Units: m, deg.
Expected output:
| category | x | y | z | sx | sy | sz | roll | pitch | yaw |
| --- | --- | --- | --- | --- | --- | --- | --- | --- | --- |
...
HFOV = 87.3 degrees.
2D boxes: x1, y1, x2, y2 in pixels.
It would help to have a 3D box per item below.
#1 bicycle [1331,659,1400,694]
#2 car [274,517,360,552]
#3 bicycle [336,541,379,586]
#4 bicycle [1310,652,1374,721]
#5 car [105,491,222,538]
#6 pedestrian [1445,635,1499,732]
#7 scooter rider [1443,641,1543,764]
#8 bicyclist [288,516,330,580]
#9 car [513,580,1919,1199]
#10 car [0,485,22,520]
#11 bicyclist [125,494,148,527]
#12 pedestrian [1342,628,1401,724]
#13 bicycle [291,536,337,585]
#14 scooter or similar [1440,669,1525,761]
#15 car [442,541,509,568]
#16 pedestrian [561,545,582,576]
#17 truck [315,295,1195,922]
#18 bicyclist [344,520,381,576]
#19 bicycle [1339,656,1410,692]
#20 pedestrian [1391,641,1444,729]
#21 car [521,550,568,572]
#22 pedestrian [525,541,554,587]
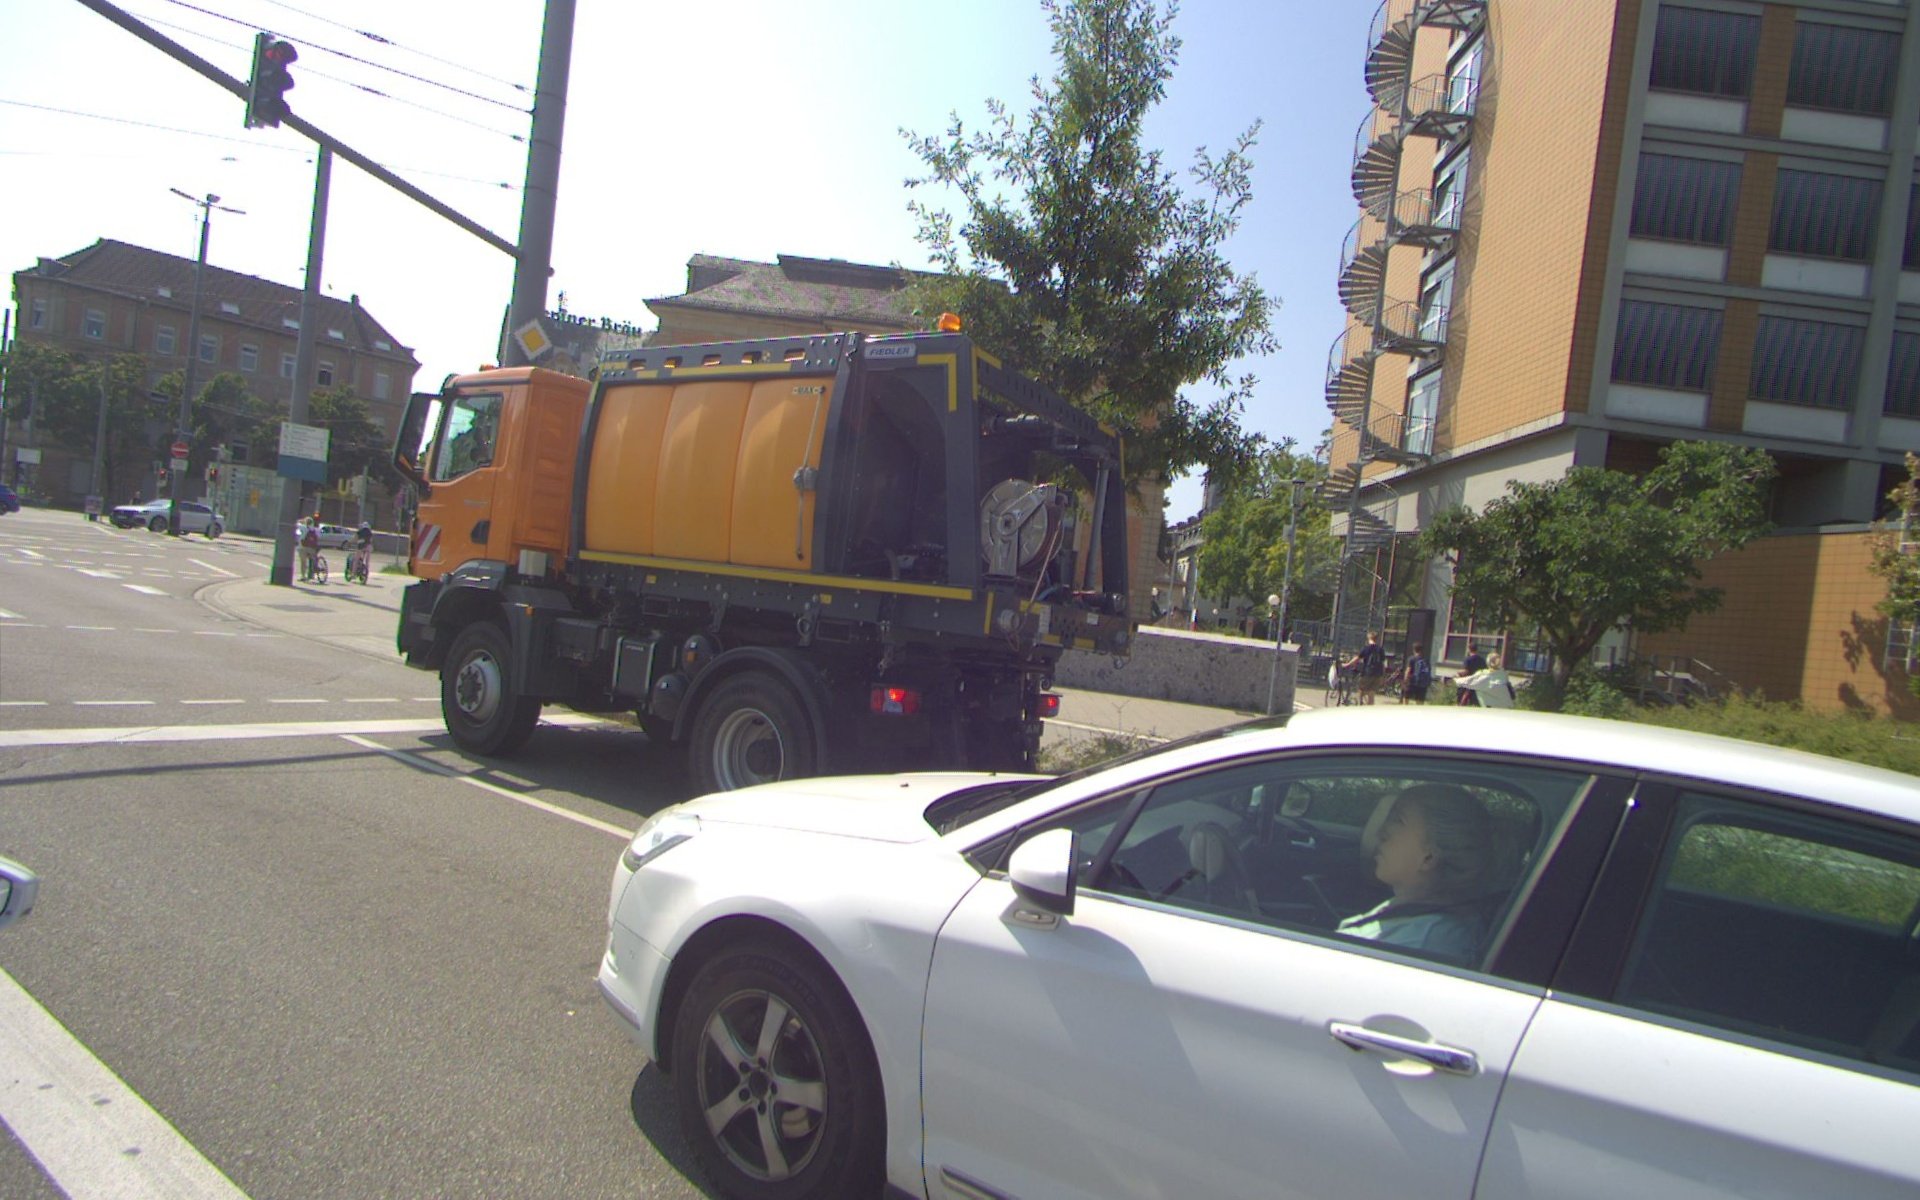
| category | x | y | z | sx | sy | sz | roll | pitch | yaw |
| --- | --- | --- | --- | --- | --- | --- | --- | --- | --- |
| bicycle | 12.741 | 2.409 | 31.634 | 1.866 | 0.850 | 0.549 | 7 | 1 | 6 |
| car | -36.484 | -3.682 | 57.216 | 1.742 | 1.433 | 4.190 | 7 | 0 | 8 |
| bicycle | -16.468 | -1.002 | 27.483 | 1.632 | 1.068 | 0.535 | 7 | 1 | 44 |
| bicycle | 7.907 | 1.766 | 20.912 | 0.474 | 1.227 | 1.847 | 6 | 0 | -1 |
| car | -38.148 | -4.048 | 48.321 | 1.721 | 1.638 | 4.337 | 7 | 0 | 7 |
| pedestrian | 10.607 | 1.706 | 20.876 | 0.617 | 1.895 | 0.837 | 6 | 1 | 13 |
| scooter rider | 8.388 | 1.589 | 15.878 | 0.844 | 1.779 | 1.041 | 7 | -1 | 2 |
| bicyclist | -16.598 | -1.332 | 25.639 | 0.702 | 1.537 | 0.626 | 7 | 1 | 44 |
| car | 1.131 | 0.944 | 2.443 | 4.534 | 1.446 | 1.770 | 7 | 0 | 33 |
| car | -42.162 | -4.358 | 42.156 | 1.574 | 1.411 | 3.980 | 7 | 0 | 42 |
| bicyclist | -42.287 | -4.586 | 51.655 | 0.511 | 1.548 | 0.613 | 7 | 1 | 7 |
| pedestrian | 8.514 | 1.549 | 20.841 | 0.665 | 1.862 | 0.837 | 6 | 1 | 0 |
| bicycle | -16.378 | -1.008 | 25.480 | 1.632 | 1.068 | 0.535 | 7 | 1 | 44 |
| scooter or similar | 8.298 | 1.799 | 16.027 | 0.639 | 1.294 | 1.178 | 7 | -1 | 2 |
| car | -35.384 | -3.308 | 73.591 | 1.742 | 1.433 | 4.771 | 7 | 0 | 12 |
| pedestrian | -16.420 | -1.654 | 42.526 | 0.660 | 1.229 | 0.523 | 6 | 1 | -30 |
| truck | -1.984 | -0.177 | 7.964 | 6.750 | 3.172 | 2.494 | 7 | 0 | 33 |
| bicyclist | -16.163 | -1.416 | 27.227 | 0.882 | 1.410 | 0.529 | 7 | 1 | 44 |
| bicycle | 12.782 | 2.282 | 31.030 | 1.866 | 0.850 | 0.549 | 7 | 1 | 6 |
| pedestrian | 9.391 | 1.718 | 20.665 | 0.665 | 1.695 | 0.837 | 6 | 1 | 13 |
| car | -34.704 | -3.225 | 84.177 | 1.742 | 1.433 | 4.203 | 7 | 0 | 6 |
| pedestrian | -16.824 | -1.433 | 40.239 | 0.808 | 1.746 | 0.545 | 7 | 1 | -10 |
